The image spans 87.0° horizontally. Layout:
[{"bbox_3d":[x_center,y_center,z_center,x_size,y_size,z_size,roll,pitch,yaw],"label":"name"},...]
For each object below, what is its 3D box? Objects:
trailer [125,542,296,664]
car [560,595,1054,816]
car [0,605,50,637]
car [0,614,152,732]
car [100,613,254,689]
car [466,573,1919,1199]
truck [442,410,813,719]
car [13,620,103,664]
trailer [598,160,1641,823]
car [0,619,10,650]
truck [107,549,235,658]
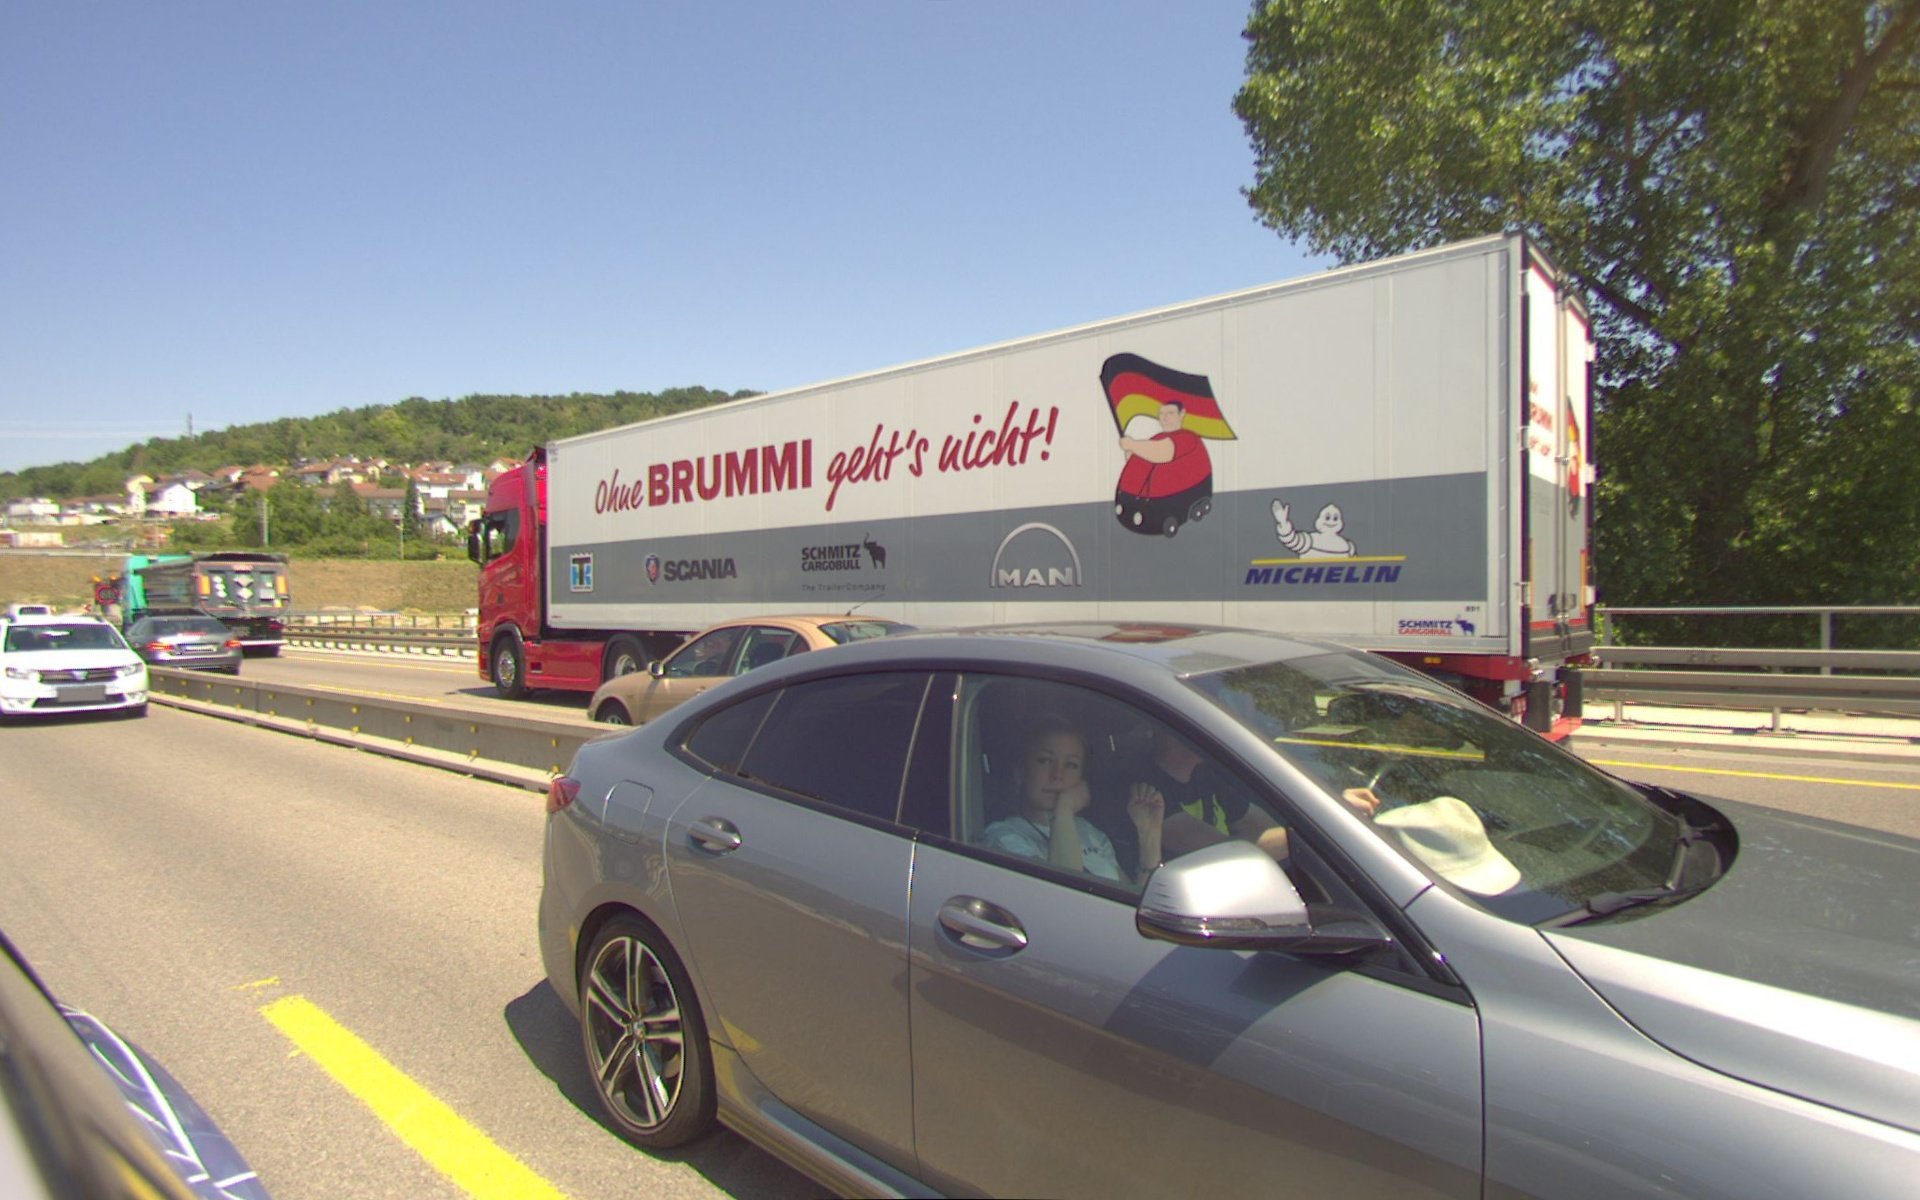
[{"bbox_3d":[-25.889,0.141,34.731,8.950,3.700,2.766,-1,0,40],"label":"trailer"},{"bbox_3d":[-1.453,0.786,8.797,4.188,1.472,1.883,-2,-3,38],"label":"car"},{"bbox_3d":[-58.482,1.305,63.115,4.623,1.882,1.841,-1,-1,38],"label":"car"},{"bbox_3d":[-13.899,1.007,15.418,4.705,1.542,1.799,-1,-1,43],"label":"car"},{"bbox_3d":[-18.087,1.105,23.284,4.917,1.499,1.870,-1,0,41],"label":"car"},{"bbox_3d":[0.782,0.725,2.439,4.739,1.463,1.833,-2,-1,41],"label":"car"},{"bbox_3d":[-5.642,-0.397,16.534,6.519,4.068,2.787,-2,-1,41],"label":"truck"},{"bbox_3d":[-30.656,1.387,34.338,4.710,1.390,1.762,-1,-2,42],"label":"car"},{"bbox_3d":[0.330,-0.552,11.331,11.791,4.208,2.777,-2,-1,41],"label":"trailer"},{"bbox_3d":[-46.749,1.632,48.293,4.101,1.419,1.614,-1,-2,41],"label":"car"},{"bbox_3d":[-29.591,0.136,37.886,5.371,3.750,2.768,0,-1,41],"label":"truck"}]
